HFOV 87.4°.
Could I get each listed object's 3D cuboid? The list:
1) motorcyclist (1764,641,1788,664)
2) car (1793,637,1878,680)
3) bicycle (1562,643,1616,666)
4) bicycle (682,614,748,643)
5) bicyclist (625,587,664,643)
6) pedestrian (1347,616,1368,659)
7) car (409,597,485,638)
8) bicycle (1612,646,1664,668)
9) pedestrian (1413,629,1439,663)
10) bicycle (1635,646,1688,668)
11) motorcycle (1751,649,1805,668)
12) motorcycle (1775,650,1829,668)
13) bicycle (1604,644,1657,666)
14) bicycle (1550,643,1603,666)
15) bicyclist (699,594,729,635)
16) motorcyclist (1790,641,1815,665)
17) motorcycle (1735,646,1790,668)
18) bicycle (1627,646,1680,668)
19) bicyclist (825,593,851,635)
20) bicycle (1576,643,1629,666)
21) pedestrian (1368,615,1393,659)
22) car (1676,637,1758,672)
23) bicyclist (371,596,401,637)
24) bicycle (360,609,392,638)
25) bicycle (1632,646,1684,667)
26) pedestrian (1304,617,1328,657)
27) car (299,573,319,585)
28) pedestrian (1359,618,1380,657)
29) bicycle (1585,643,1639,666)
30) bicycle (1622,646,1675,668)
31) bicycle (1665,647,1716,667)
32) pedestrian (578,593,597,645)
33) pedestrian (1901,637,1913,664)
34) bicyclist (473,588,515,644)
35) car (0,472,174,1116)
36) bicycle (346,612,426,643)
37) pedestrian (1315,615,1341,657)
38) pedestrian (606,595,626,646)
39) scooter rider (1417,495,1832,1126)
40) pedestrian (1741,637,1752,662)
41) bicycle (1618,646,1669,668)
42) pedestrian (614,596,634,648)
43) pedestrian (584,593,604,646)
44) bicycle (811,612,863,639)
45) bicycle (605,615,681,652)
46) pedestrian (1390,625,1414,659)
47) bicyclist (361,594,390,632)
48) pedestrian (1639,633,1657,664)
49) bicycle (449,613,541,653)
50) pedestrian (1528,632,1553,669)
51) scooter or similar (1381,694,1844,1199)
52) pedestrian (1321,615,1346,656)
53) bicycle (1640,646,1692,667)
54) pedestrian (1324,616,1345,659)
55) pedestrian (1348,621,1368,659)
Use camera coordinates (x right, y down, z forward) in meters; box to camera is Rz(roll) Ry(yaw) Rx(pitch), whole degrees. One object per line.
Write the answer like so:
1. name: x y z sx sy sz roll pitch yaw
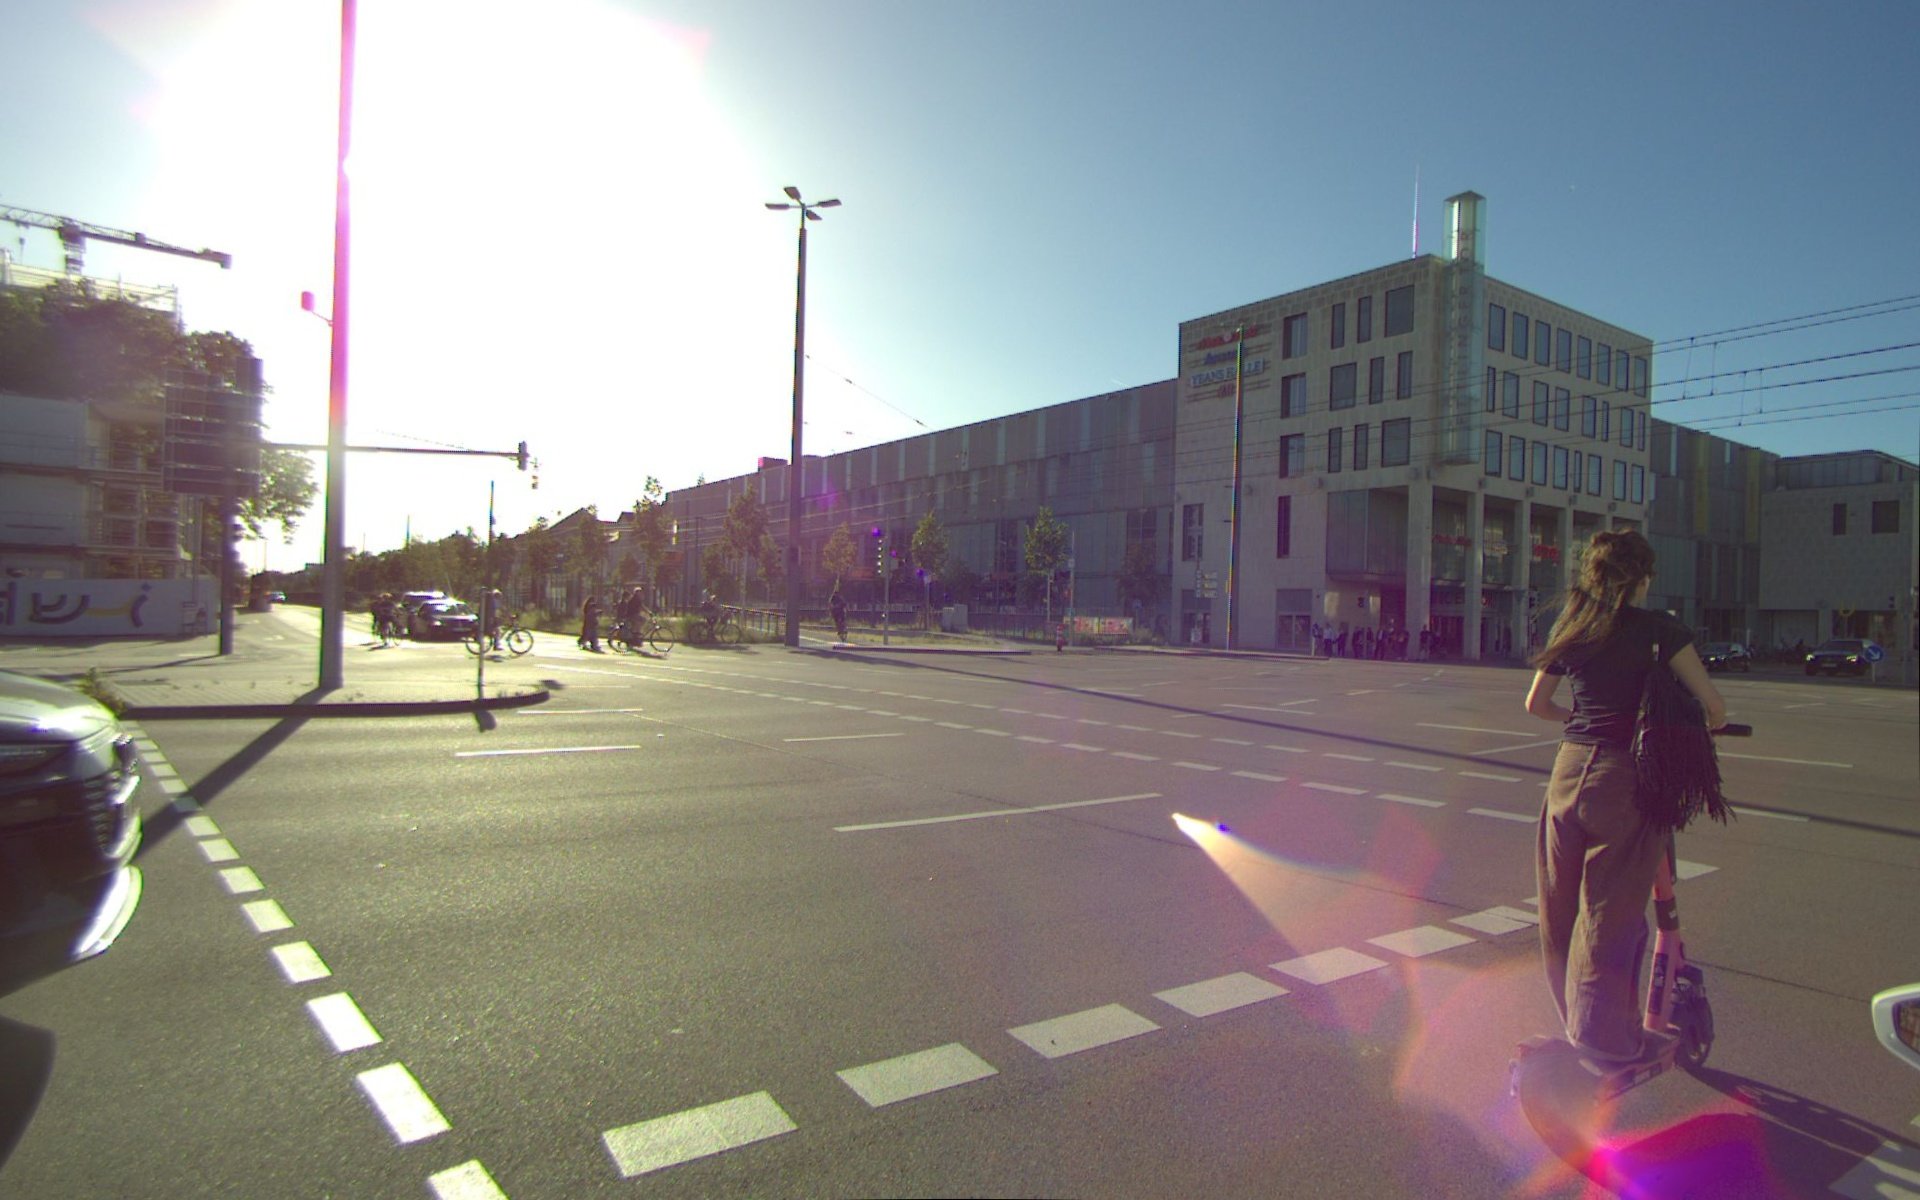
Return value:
1. motorcyclist: 54.643 3.509 67.237 0.908 1.490 1.028 2 1 -38
2. car: 38.494 2.555 44.147 4.253 1.699 1.924 2 -1 -36
3. bicycle: 34.116 2.944 54.527 0.676 1.125 2.456 2 -1 -30
4. bicycle: -8.331 0.959 34.189 2.050 0.939 0.800 1 0 -26
5. bicyclist: -8.935 0.429 28.449 0.931 1.565 0.643 1 0 -31
6. pedestrian: 20.398 1.895 51.600 0.880 2.152 0.947 2 0 18
7. car: -19.087 0.615 37.288 1.980 1.394 3.960 1 0 -35
8. bicycle: 38.746 3.229 57.416 0.586 1.125 2.456 2 -1 -29
9. pedestrian: 23.111 2.281 49.844 0.926 1.592 0.842 2 0 6
10. bicycle: 41.179 3.326 59.003 0.825 1.125 2.456 2 -1 -30
11. motorcycle: 54.683 3.915 67.185 0.908 1.009 2.647 2 1 -37
12. motorcycle: 57.668 4.049 68.828 0.908 1.009 2.647 2 1 -37
13. bicycle: 37.588 3.064 56.349 0.676 1.125 2.456 2 -1 -29
14. bicycle: 32.999 2.914 53.802 0.650 1.127 2.390 2 -1 -31
15. bicyclist: -8.368 0.502 34.166 0.830 1.375 0.800 1 0 -26
16. motorcyclist: 57.712 3.619 68.809 0.908 1.596 1.128 2 1 -38
17. motorcycle: 52.681 3.714 65.988 0.908 1.234 2.647 2 1 -37
18. bicycle: 40.389 3.293 58.525 0.676 1.125 2.456 2 -1 -29
19. bicyclist: -4.580 0.529 37.674 0.742 1.525 0.617 1 0 26
20. bicycle: 35.283 2.995 55.203 0.675 1.125 2.457 2 -1 -28
21. pedestrian: 21.524 1.878 51.465 1.042 2.157 1.098 2 0 20
22. car: 37.238 2.672 49.399 4.249 1.602 1.926 2 -1 -33
23. bicyclist: -18.270 0.519 32.010 0.627 1.287 0.803 1 0 -15
24. bicycle: -20.680 0.818 35.536 0.798 0.939 2.056 1 0 -36
25. bicycle: 41.610 3.347 59.920 0.676 1.125 2.456 2 -1 -29
26. pedestrian: 19.471 2.016 54.935 0.884 2.152 0.943 2 0 38
27. car: -77.954 -2.531 120.260 1.770 1.342 3.956 2 1 -38
28. pedestrian: 21.640 1.968 53.055 0.900 2.040 1.022 2 0 28
29. bicycle: 36.010 3.004 55.544 0.676 1.125 2.456 2 -1 -29
30. bicycle: 39.770 3.275 58.065 0.676 1.125 2.456 2 -1 -29
31. bicycle: 45.381 3.520 62.426 0.825 1.125 2.456 2 -1 -30
32. pedestrian: -11.388 0.584 30.699 0.446 1.587 0.515 1 0 -31
33. pedestrian: 73.758 3.930 78.249 0.609 2.040 0.475 3 1 45
34. bicyclist: -12.168 0.413 26.229 0.835 1.421 0.797 1 1 -37
35. car: -4.873 0.432 2.247 4.745 1.684 2.179 2 0 -36
36. bicycle: -18.258 0.860 32.006 2.043 0.939 0.803 1 0 -16
37. pedestrian: 19.517 1.913 53.270 0.941 2.152 0.886 2 0 -44
38. pedestrian: -10.886 0.650 31.782 0.446 1.587 0.515 1 0 -31
39. scooter rider: 2.034 0.531 3.064 1.106 1.564 0.638 2 1 -34
40. pedestrian: 66.115 4.170 84.433 0.609 2.040 0.475 3 1 45
41. bicycle: 39.245 3.250 57.722 0.531 1.125 2.456 2 -1 -29
42. pedestrian: -10.377 0.671 30.991 0.446 1.587 0.515 1 0 -31
43. pedestrian: -11.043 0.586 30.266 0.446 1.587 0.515 1 0 -31
44. bicycle: -4.579 0.954 37.681 0.742 0.953 2.392 1 0 26
45. bicycle: -8.973 0.947 28.425 1.956 1.010 0.643 1 0 -31
46. pedestrian: 22.783 2.163 51.827 0.987 1.673 0.949 2 0 18
47. bicyclist: -20.685 0.452 35.549 0.798 1.315 0.769 1 1 -36
48. pedestrian: 45.188 3.183 65.956 0.933 2.008 1.005 2 0 35
49. bicycle: -12.136 0.850 26.242 2.058 0.991 0.797 1 0 -37
50. pedestrian: 28.284 2.471 48.968 0.749 1.763 0.746 2 0 -34
51. scooter or similar: 2.024 0.933 3.065 1.468 1.191 0.638 2 1 -35
52. pedestrian: 20.172 1.902 54.204 0.886 2.152 0.941 2 0 44
53. bicycle: 42.612 3.390 60.655 0.825 1.125 2.456 2 -1 -30
54. pedestrian: 19.386 1.916 51.997 0.881 2.152 0.946 2 0 24
55. pedestrian: 21.700 2.163 54.730 0.899 2.040 1.024 2 0 19
